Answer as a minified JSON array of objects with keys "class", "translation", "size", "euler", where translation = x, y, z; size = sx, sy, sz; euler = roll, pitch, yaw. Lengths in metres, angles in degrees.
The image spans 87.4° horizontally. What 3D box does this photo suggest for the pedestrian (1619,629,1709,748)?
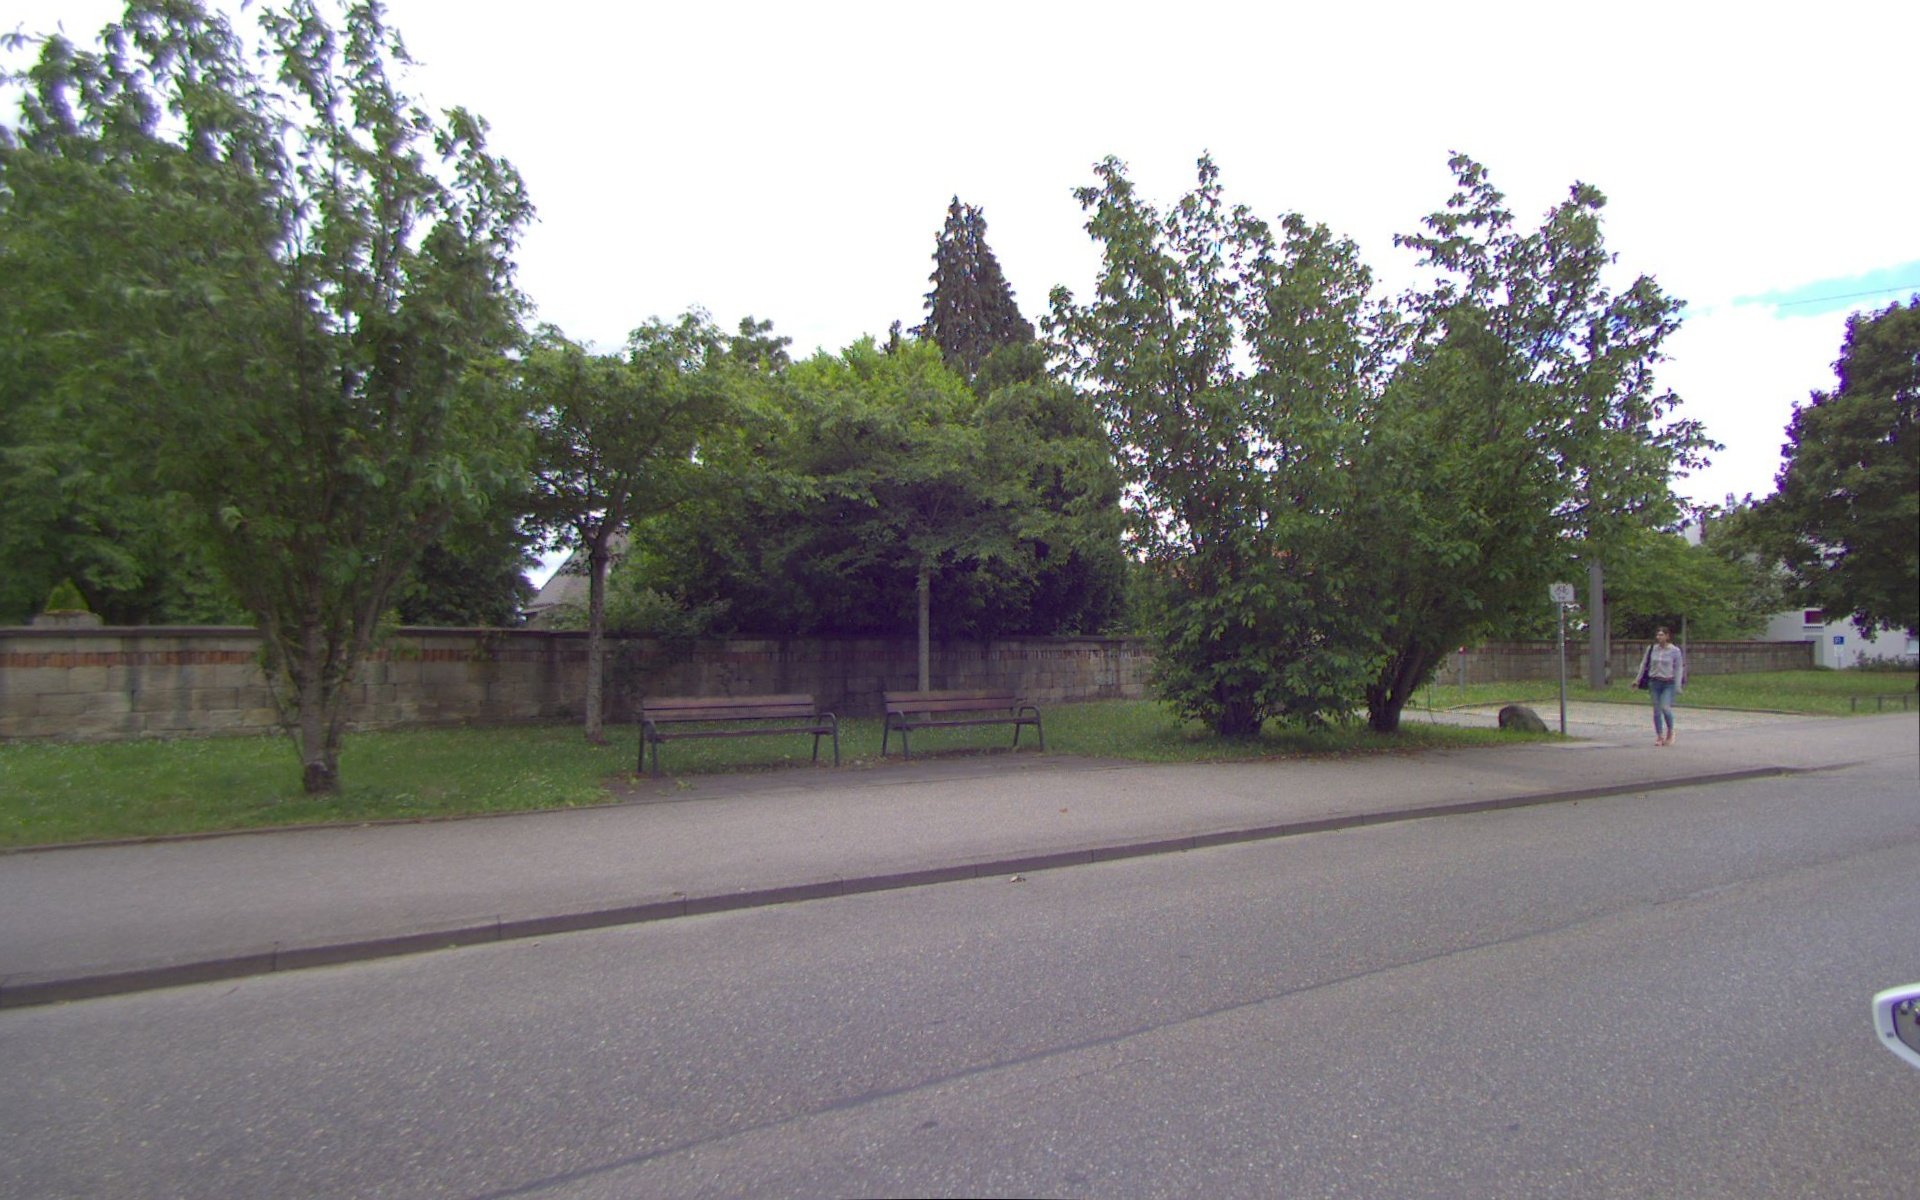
[{"class":"pedestrian","translation":[10.935,1.348,15.620],"size":[0.891,1.771,0.765],"euler":[2,-1,-22]}]
